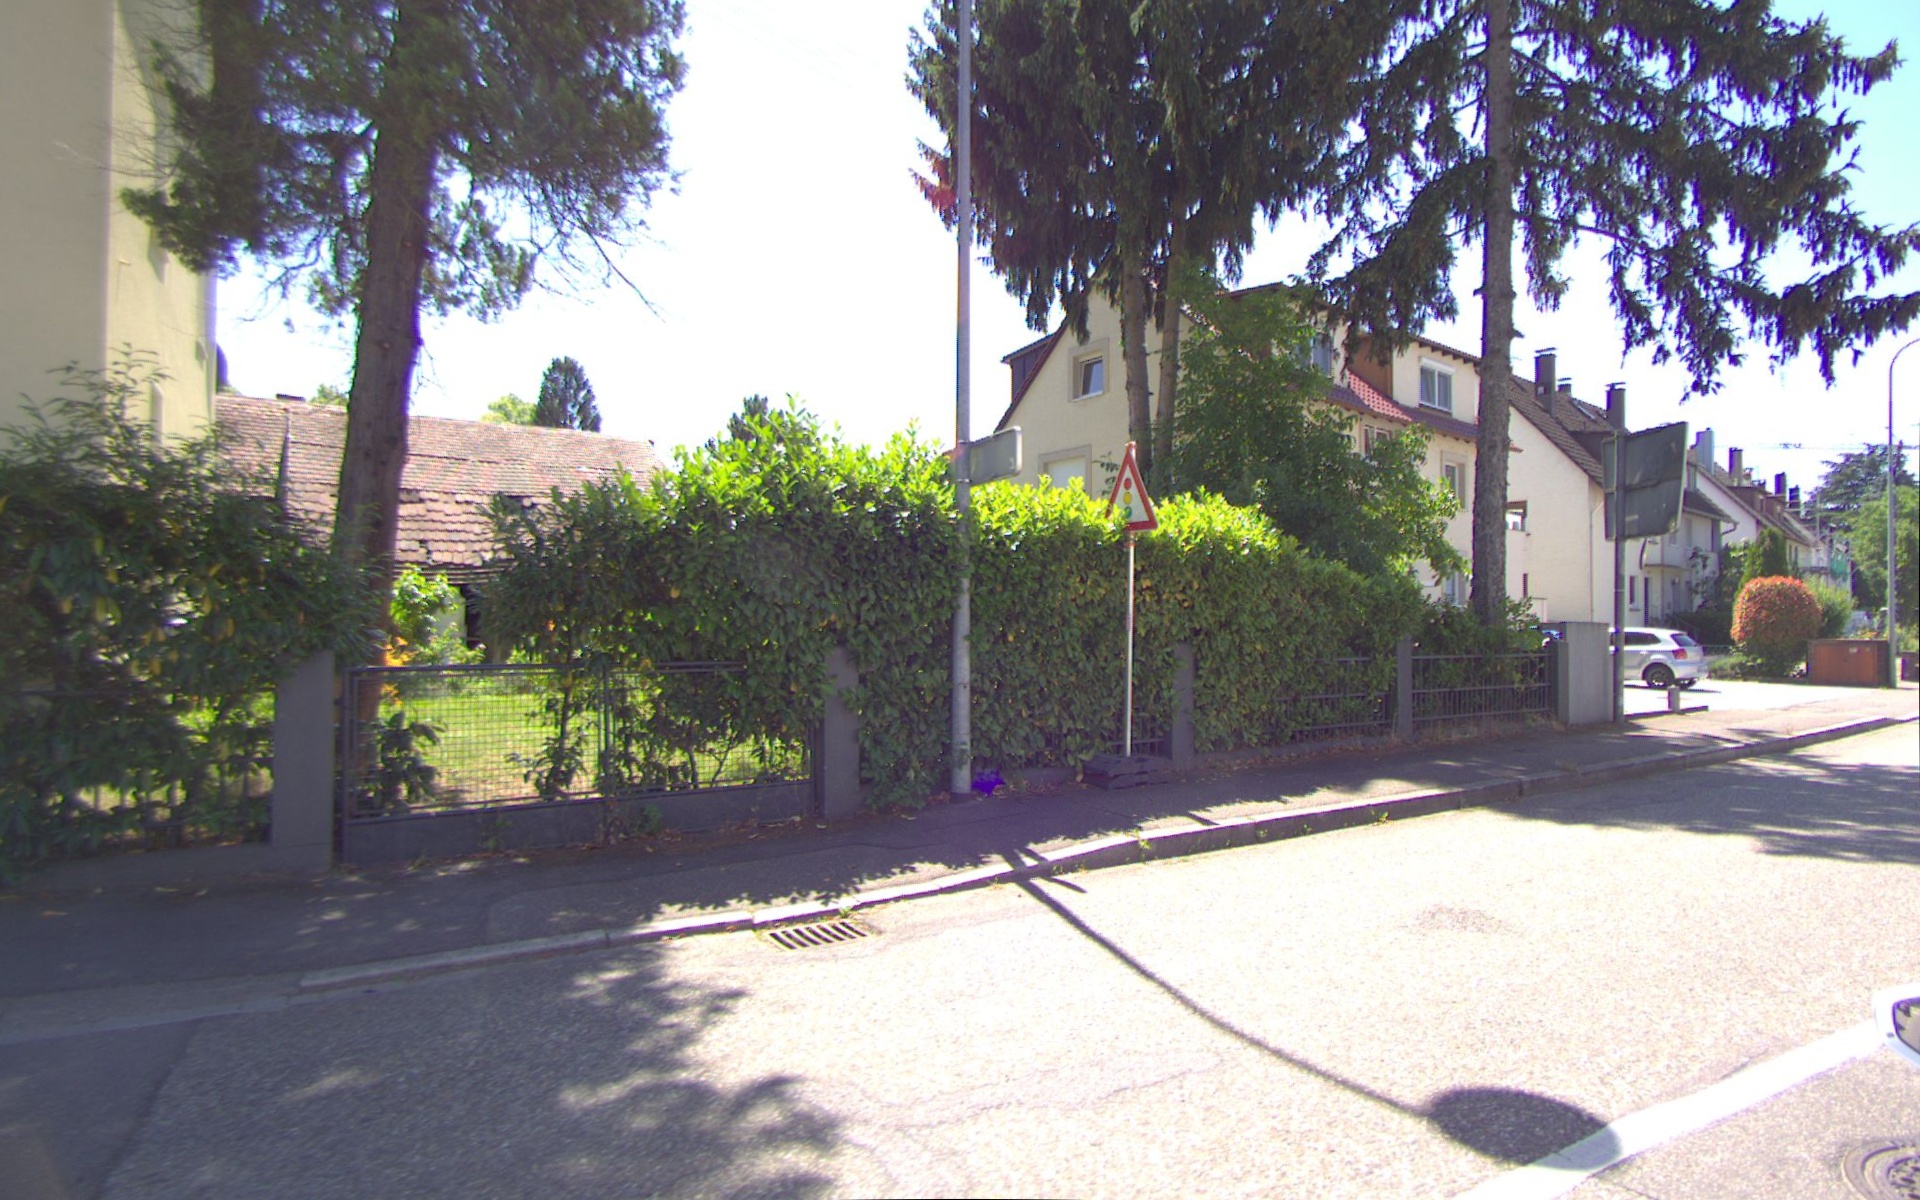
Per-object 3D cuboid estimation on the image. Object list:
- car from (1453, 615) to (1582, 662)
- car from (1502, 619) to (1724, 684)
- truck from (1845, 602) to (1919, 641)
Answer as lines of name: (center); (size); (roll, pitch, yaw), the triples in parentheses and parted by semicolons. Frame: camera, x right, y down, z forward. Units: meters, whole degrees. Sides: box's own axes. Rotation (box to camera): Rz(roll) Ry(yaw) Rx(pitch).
car: (20.029, 1.352, 36.202); (1.633, 1.557, 3.752); (0, 0, -40)
car: (16.569, 1.238, 25.724); (1.828, 1.460, 4.441); (1, -1, -34)
truck: (48.393, 1.131, 51.977); (1.535, 1.963, 3.734); (0, -2, -42)
